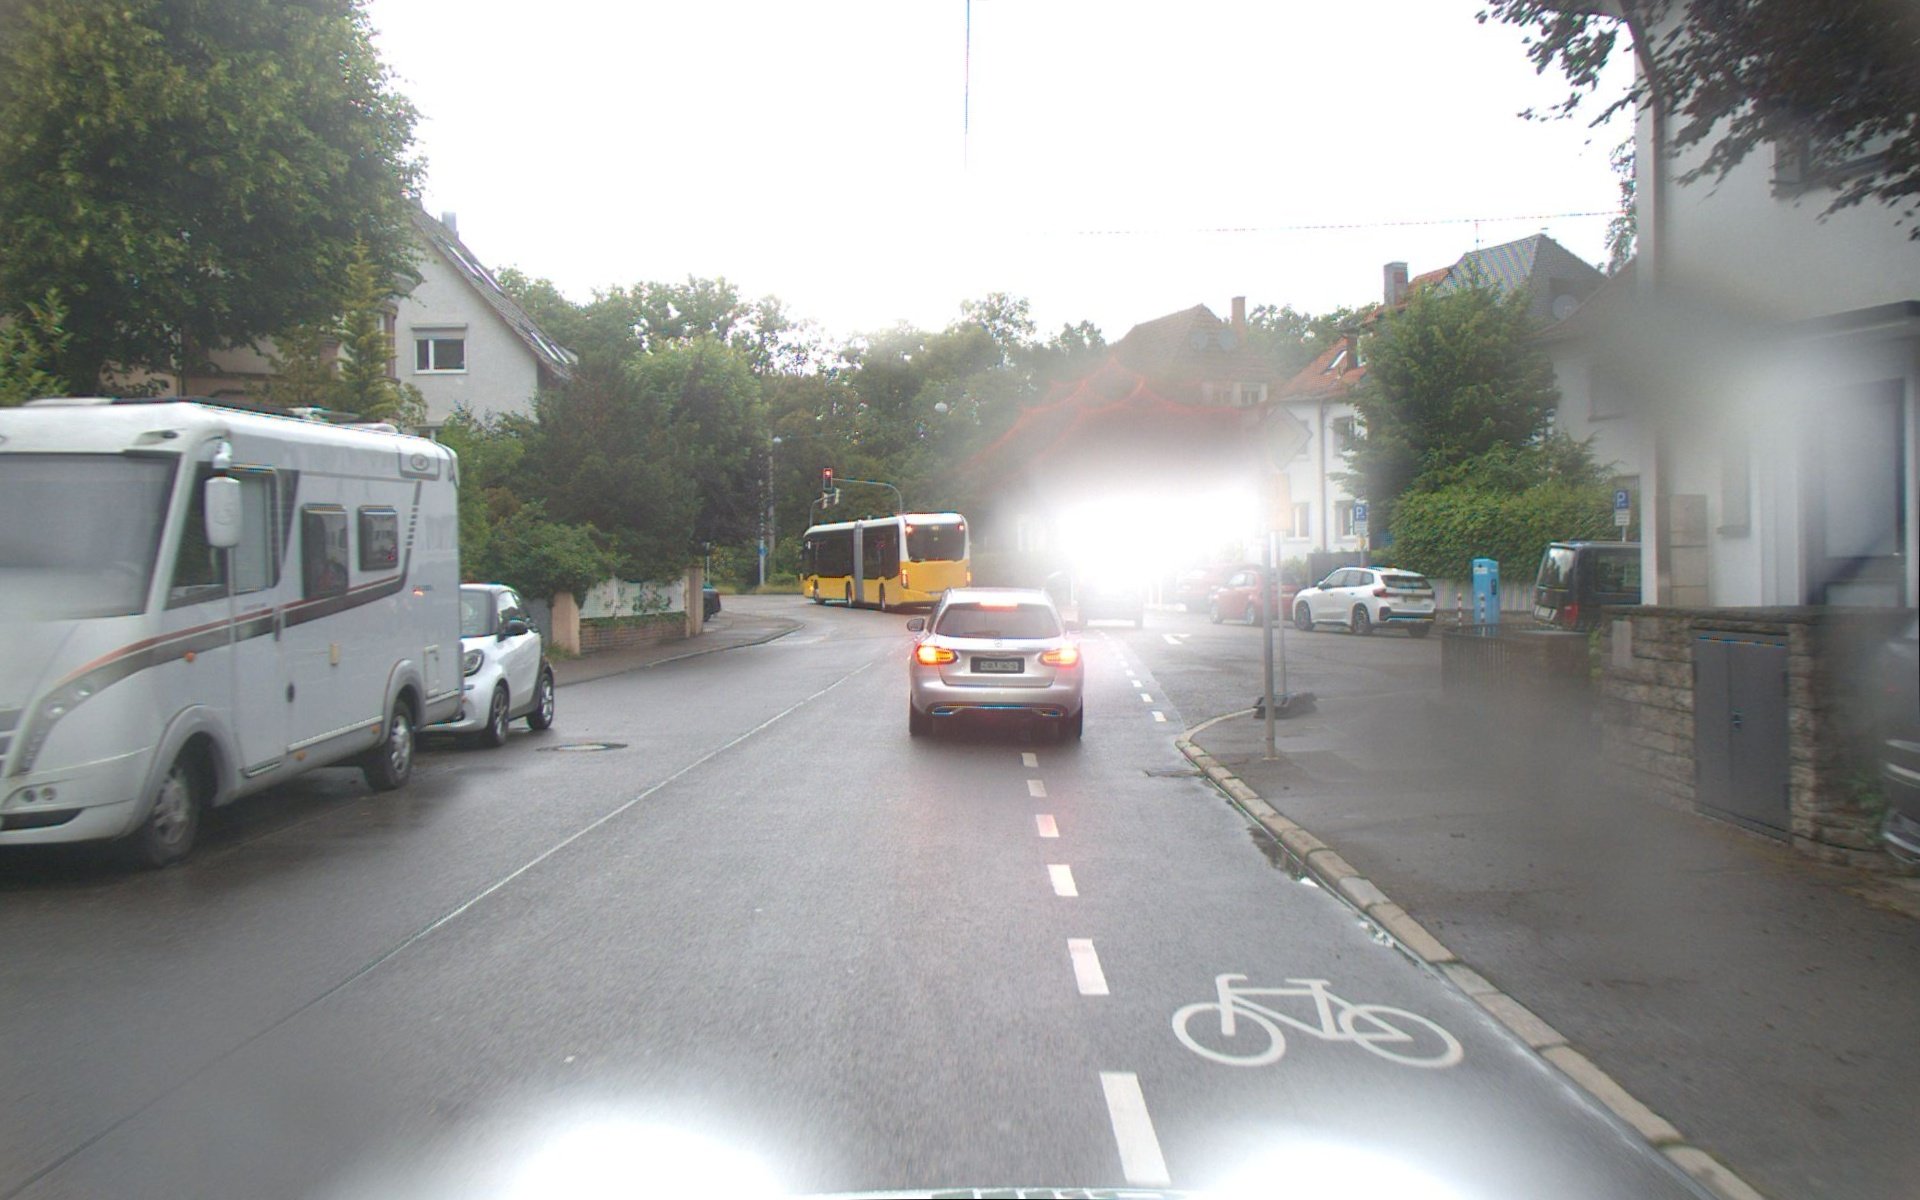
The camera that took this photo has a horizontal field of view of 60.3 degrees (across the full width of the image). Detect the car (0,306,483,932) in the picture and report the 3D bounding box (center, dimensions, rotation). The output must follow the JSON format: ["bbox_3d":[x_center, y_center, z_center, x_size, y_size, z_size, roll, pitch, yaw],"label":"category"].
[{"bbox_3d":[-5.209,-0.010,10.706,2.342,2.820,6.532,1,1,0],"label":"car"}]

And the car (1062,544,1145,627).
[{"bbox_3d":[3.494,-0.322,40.806,1.804,1.937,4.001,0,-1,2],"label":"car"}]

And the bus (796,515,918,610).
[{"bbox_3d":[-4.531,-1.665,70.171,2.882,3.714,10.256,0,2,-17],"label":"bus"}]

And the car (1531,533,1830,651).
[{"bbox_3d":[10.040,-0.148,23.290,3.512,1.535,1.732,1,2,10],"label":"car"}]

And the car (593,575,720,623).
[{"bbox_3d":[-9.697,-0.044,53.116,3.913,1.444,1.884,1,2,-9],"label":"car"}]

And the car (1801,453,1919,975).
[{"bbox_3d":[5.771,0.305,5.823,4.570,1.907,1.999,-3,0,-3],"label":"car"}]

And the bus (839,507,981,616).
[{"bbox_3d":[-2.062,-1.502,61.601,2.881,3.714,10.126,0,2,-16],"label":"bus"}]

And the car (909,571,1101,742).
[{"bbox_3d":[0.375,0.520,17.561,1.779,1.584,3.999,1,0,-2],"label":"car"}]

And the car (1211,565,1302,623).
[{"bbox_3d":[8.183,-0.188,45.800,1.187,1.476,3.007,0,2,-18],"label":"car"}]

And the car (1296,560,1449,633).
[{"bbox_3d":[10.063,-0.131,40.651,1.779,1.636,4.044,0,2,-18],"label":"car"}]

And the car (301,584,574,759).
[{"bbox_3d":[-5.090,0.627,16.541,1.677,1.472,3.255,1,2,0],"label":"car"}]

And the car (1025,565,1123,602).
[{"bbox_3d":[5.003,-0.716,72.436,3.925,1.557,1.750,0,2,-19],"label":"car"}]

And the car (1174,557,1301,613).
[{"bbox_3d":[9.476,-0.537,56.573,3.914,1.825,1.755,1,2,-10],"label":"car"}]
